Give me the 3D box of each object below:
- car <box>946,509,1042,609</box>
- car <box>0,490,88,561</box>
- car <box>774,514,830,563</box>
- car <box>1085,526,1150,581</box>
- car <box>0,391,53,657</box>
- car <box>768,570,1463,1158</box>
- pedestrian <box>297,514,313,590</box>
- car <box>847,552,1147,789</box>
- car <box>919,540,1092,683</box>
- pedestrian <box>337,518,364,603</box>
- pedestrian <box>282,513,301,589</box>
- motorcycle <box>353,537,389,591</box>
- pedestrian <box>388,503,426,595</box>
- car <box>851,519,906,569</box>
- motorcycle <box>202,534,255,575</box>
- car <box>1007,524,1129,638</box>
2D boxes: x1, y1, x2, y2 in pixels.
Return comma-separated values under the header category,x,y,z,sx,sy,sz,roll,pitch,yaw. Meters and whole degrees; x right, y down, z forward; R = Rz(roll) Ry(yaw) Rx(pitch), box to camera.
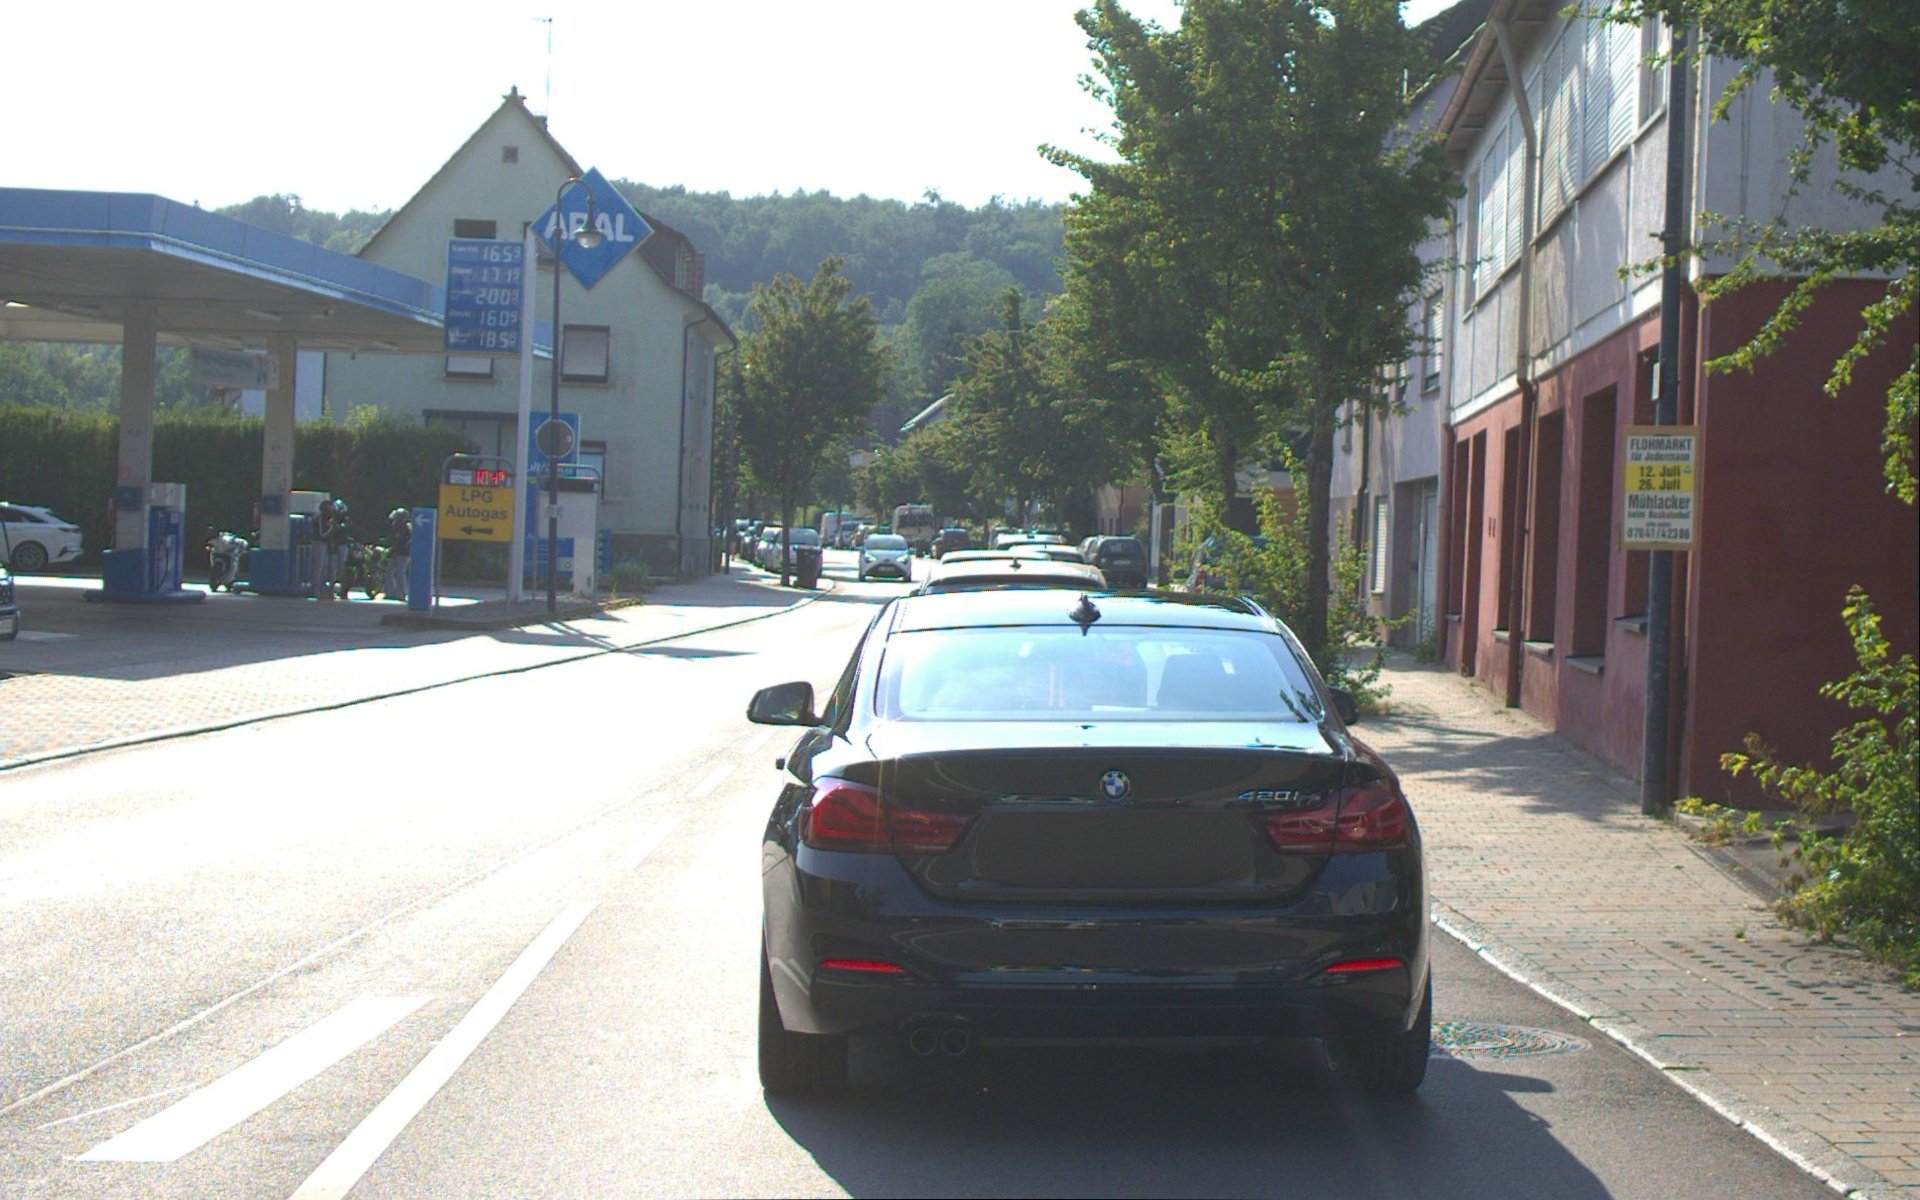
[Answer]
category,x,y,z,sx,sy,sz,roll,pitch,yaw
car,0.646,-0.783,63.870,1.603,1.761,3.411,1,1,3
car,-19.694,-1.559,70.994,3.150,1.423,1.440,1,1,-18
car,-5.031,-1.961,109.728,1.597,1.480,3.475,2,1,0
car,4.441,-1.329,97.165,1.597,1.480,3.475,2,1,0
car,-11.843,-0.815,31.946,6.159,2.436,2.249,2,1,1
car,0.334,0.635,10.596,1.699,1.364,4.263,1,1,-1
pedestrian,-11.902,-0.873,62.463,0.262,1.378,0.288,1,1,-11
car,0.327,0.420,23.630,1.772,1.451,3.515,2,1,5
car,0.523,0.088,37.167,1.754,1.409,3.422,1,1,2
pedestrian,-11.167,-0.720,62.951,0.407,1.541,0.433,1,1,-2
pedestrian,-12.046,-0.877,61.926,0.287,1.362,0.263,1,1,-3
motorcycle,-10.690,-0.657,62.410,0.363,0.940,1.696,1,1,-1
pedestrian,-10.094,-0.928,62.810,0.610,1.664,0.442,1,1,-2
car,-2.532,-1.775,107.674,1.597,1.480,3.475,2,1,0
motorcycle,-13.393,-0.840,62.982,0.459,0.727,1.473,1,1,8
car,1.581,-0.321,51.303,1.591,1.595,3.894,1,1,-1
